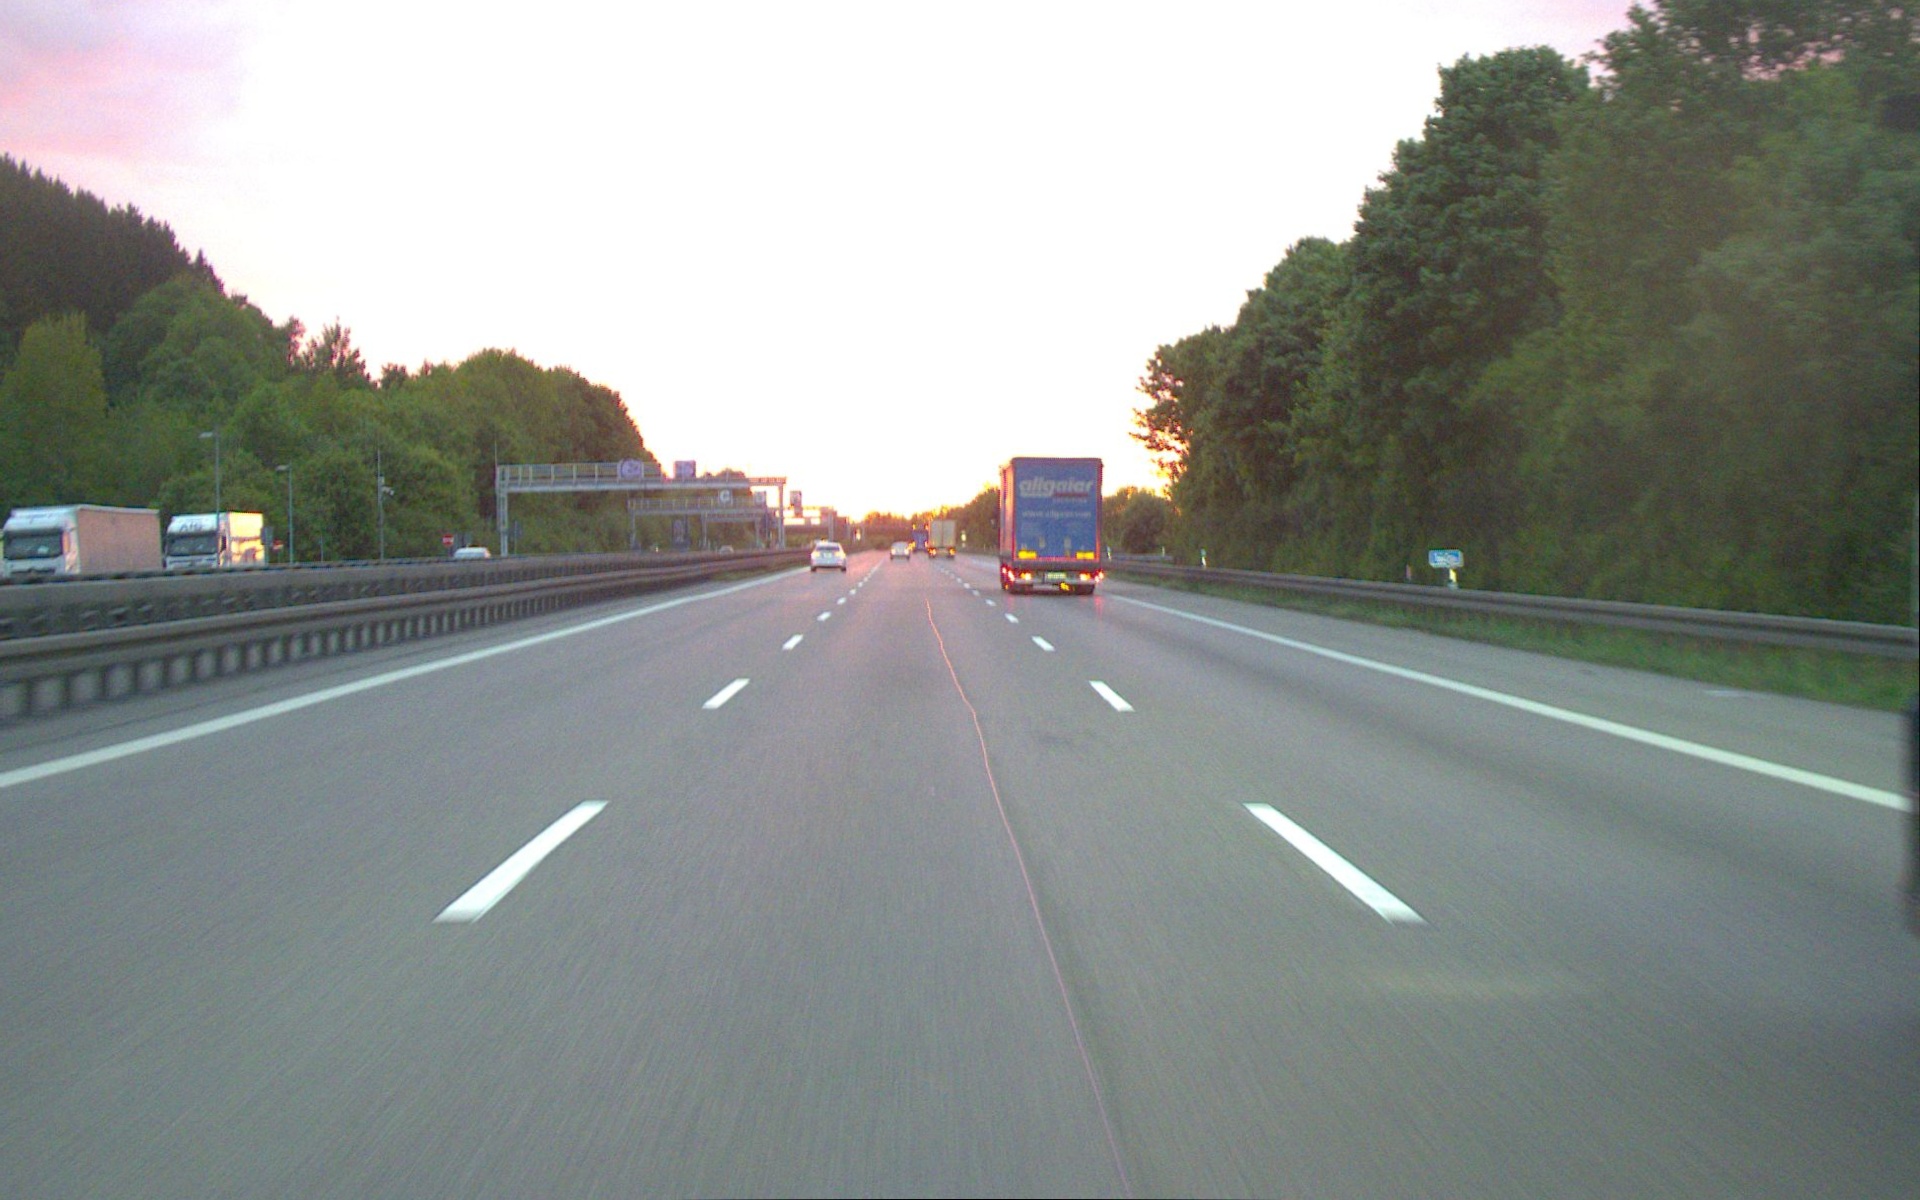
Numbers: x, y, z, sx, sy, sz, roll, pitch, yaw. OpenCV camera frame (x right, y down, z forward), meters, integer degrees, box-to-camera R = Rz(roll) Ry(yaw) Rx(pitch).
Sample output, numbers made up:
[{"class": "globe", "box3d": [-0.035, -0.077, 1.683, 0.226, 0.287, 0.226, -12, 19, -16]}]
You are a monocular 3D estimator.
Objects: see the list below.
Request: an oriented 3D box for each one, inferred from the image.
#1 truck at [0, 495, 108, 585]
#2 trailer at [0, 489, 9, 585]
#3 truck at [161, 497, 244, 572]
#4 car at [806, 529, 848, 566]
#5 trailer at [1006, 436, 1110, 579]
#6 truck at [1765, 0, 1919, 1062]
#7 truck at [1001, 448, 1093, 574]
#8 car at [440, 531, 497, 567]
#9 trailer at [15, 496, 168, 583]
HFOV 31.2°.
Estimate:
[{"class": "truck", "box3d": [-35.747, -2.366, 135.112, 2.873, 3.413, 6.726, 0, 1, 0]}, {"class": "trailer", "box3d": [-35.719, -2.127, 117.099, 2.873, 3.413, 13.571, 0, 1, 0]}, {"class": "truck", "box3d": [-35.090, -3.053, 159.371, 2.873, 3.413, 6.727, 0, 1, -5]}, {"class": "car", "box3d": [-6.738, -2.671, 174.331, 2.013, 1.743, 3.903, -3, 1, -1]}, {"class": "trailer", "box3d": [2.912, -2.757, 105.740, 2.772, 4.072, 13.740, 1, 1, 0]}, {"class": "truck", "box3d": [4.143, -0.525, 6.593, 2.616, 3.814, 10.387, -1, 1, -1]}, {"class": "truck", "box3d": [2.812, -2.870, 112.650, 2.736, 3.983, 5.850, 1, 1, -1]}, {"class": "car", "box3d": [-22.482, -2.358, 157.345, 1.993, 1.588, 4.741, 0, 1, -1]}, {"class": "trailer", "box3d": [-35.752, -2.513, 142.171, 2.873, 3.413, 13.851, 0, 1, 0]}]
